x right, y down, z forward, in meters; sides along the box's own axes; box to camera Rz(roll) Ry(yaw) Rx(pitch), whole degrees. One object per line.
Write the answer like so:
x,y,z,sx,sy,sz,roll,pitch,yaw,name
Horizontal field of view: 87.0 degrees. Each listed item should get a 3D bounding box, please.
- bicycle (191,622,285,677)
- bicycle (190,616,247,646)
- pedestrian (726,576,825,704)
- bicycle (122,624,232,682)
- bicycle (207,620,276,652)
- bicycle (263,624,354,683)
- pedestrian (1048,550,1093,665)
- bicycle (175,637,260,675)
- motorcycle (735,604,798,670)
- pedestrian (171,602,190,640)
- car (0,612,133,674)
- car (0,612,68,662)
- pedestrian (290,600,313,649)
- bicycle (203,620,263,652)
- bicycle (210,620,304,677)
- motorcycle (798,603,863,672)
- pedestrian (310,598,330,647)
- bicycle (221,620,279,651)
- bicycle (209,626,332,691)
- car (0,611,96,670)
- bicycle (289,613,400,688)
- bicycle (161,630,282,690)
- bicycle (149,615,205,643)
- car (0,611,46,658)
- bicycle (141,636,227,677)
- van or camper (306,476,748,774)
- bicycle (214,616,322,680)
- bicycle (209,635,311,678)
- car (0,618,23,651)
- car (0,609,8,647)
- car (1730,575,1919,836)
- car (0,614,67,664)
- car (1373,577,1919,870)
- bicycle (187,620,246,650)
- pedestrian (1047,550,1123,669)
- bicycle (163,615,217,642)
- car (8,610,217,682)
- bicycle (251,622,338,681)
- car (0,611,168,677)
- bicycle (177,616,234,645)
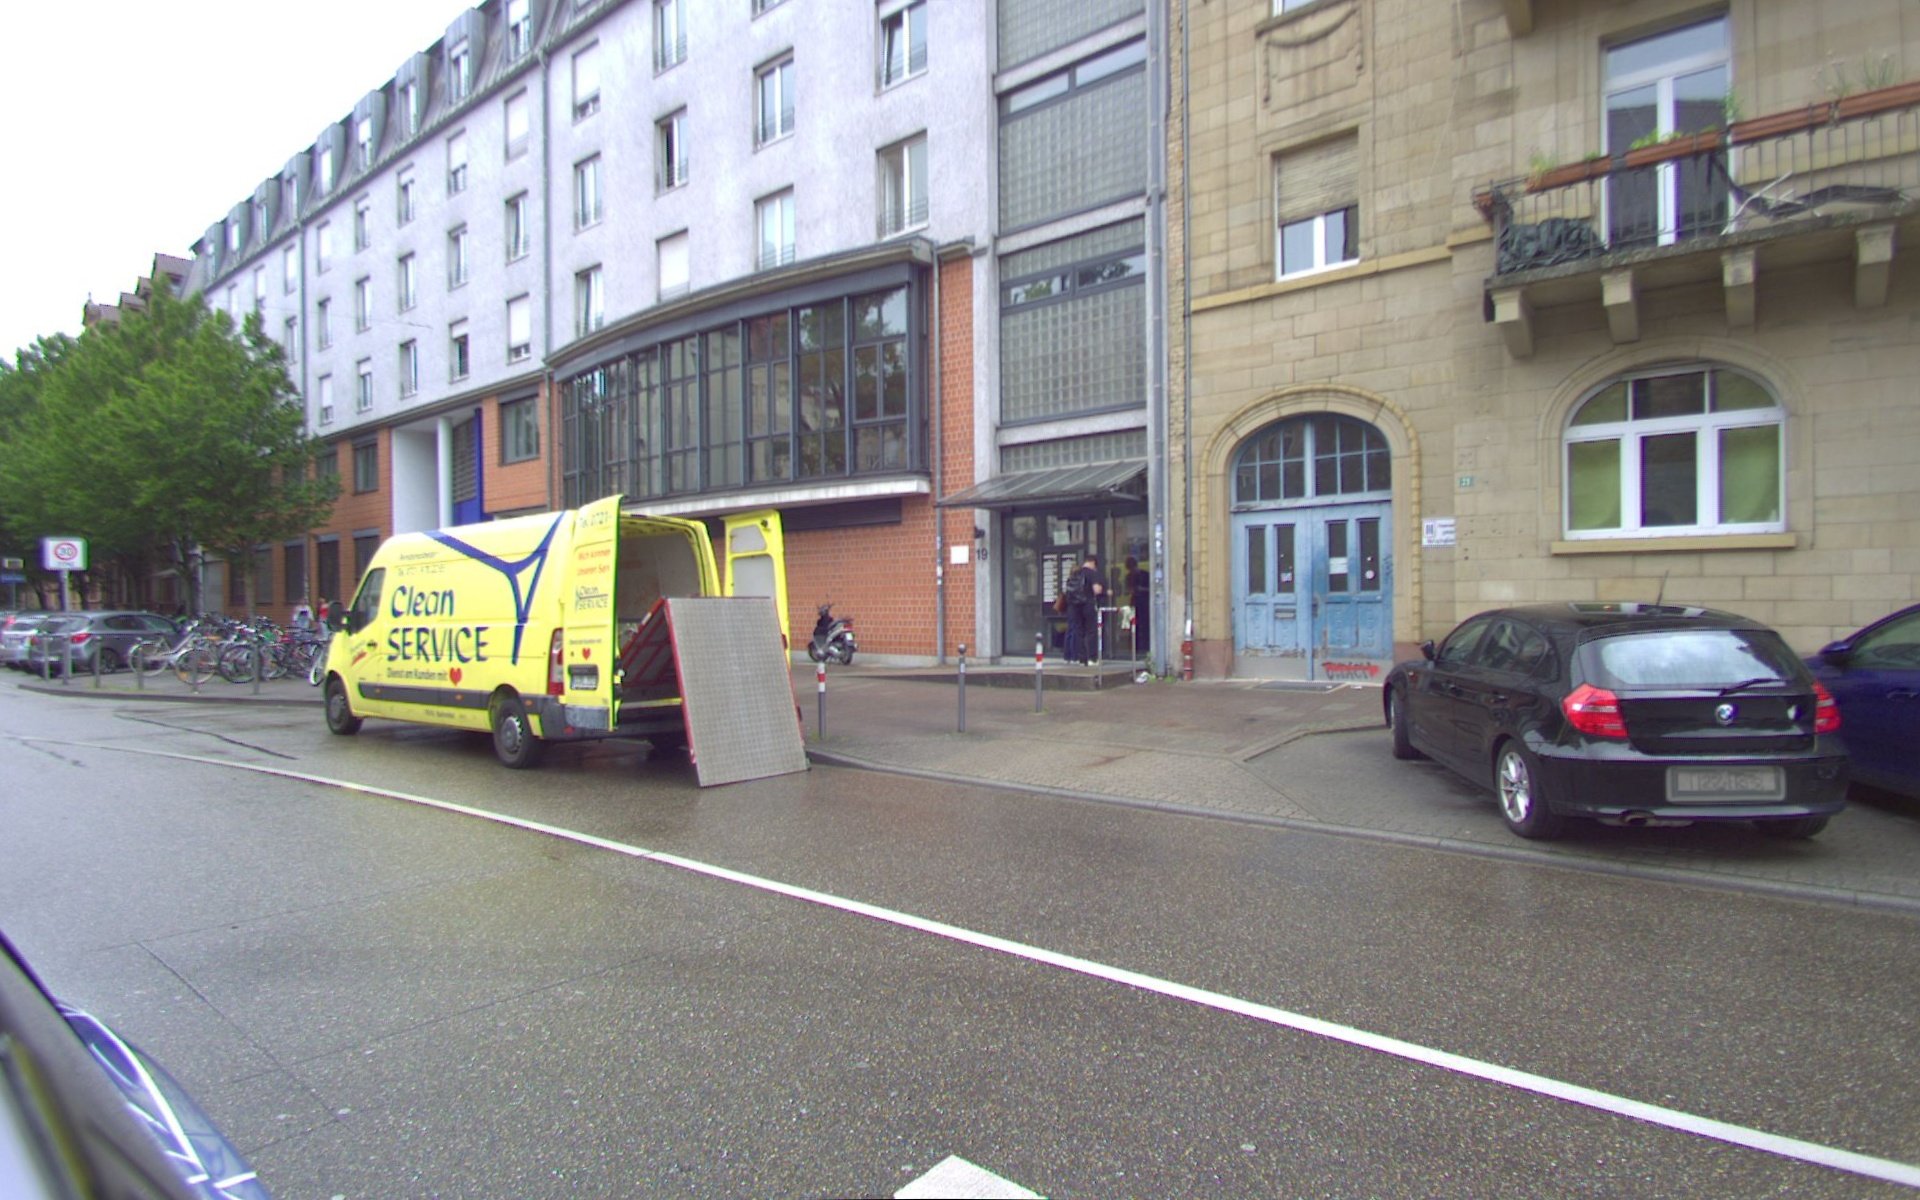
-15.771,1.061,22.137,0.519,1.114,1.591,-1,1,35,bicycle
-25.857,1.070,35.323,0.444,0.992,1.573,-1,-1,32,bicycle
-2.638,0.552,14.464,1.171,1.741,0.777,-1,0,39,pedestrian
-16.778,1.115,21.735,0.472,1.114,1.791,-1,1,35,bicycle
-23.620,1.181,33.305,0.444,0.992,1.831,-1,-1,32,bicycle
-12.906,1.040,20.074,0.418,1.072,1.442,-1,1,44,bicycle
1.735,0.117,15.930,0.467,1.761,0.608,0,-1,-24,pedestrian
-16.581,1.243,22.631,0.497,0.727,1.454,0,1,43,bicycle
-3.753,0.687,19.498,0.516,1.190,2.010,-1,0,-30,motorcycle
-33.359,0.889,43.290,0.533,1.609,0.564,-1,-1,41,pedestrian
-24.482,1.129,27.538,1.432,1.514,3.079,-1,0,0,car
-31.181,1.215,32.964,1.358,1.567,2.971,-1,0,11,car
-22.070,0.804,33.910,0.596,1.622,0.373,0,-1,-44,pedestrian
-24.061,1.181,33.516,0.444,0.992,1.573,-1,-1,32,bicycle
-15.164,1.020,21.861,0.517,1.114,1.596,-1,1,27,bicycle
-2.397,0.658,18.550,0.516,1.190,1.763,-1,0,-30,motorcycle
-21.367,0.761,33.781,0.506,1.622,0.426,0,-1,-38,pedestrian
-24.079,1.189,34.343,0.444,0.992,1.573,-1,-1,32,bicycle
-13.017,1.080,19.153,1.832,1.081,0.610,-2,1,-45,bicycle
-26.900,1.130,29.142,1.432,1.564,3.079,-1,0,0,car
-11.442,0.910,18.892,0.760,1.225,1.917,0,3,5,bicycle
-14.019,1.109,19.257,0.519,1.000,1.778,-1,1,38,bicycle
-28.766,1.073,37.205,0.464,0.992,1.573,-1,-1,32,bicycle
-33.292,1.198,34.736,1.138,1.567,2.672,-1,0,11,car
-17.363,1.250,22.674,0.497,0.811,1.454,0,1,43,bicycle
-5.209,0.273,11.674,5.935,2.631,2.174,-1,-2,39,van or camper
-14.293,0.970,20.960,0.517,1.203,1.798,-1,1,27,bicycle
-14.731,1.176,21.346,0.455,0.767,1.757,-1,1,27,bicycle
-43.734,1.530,44.672,1.662,1.502,3.799,0,-1,-10,car
-48.960,1.361,49.004,1.666,1.910,4.330,0,-1,-1,car
6.717,0.635,6.007,1.780,1.585,4.029,0,-1,11,car
-29.308,1.188,31.297,1.177,1.461,2.502,-1,0,0,car
4.521,0.670,7.371,1.777,1.523,4.035,0,-1,7,car
-25.519,1.181,34.756,0.444,0.992,1.573,-1,-1,32,bicycle
1.910,0.145,15.389,0.785,1.741,0.998,-1,-1,31,pedestrian
-29.074,1.079,38.230,0.464,0.992,1.573,-1,-1,32,bicycle
-20.081,1.037,24.179,1.720,1.514,3.614,0,0,9,car
-13.505,1.033,20.566,1.439,1.111,0.462,-2,1,-36,bicycle
-22.381,1.091,25.987,1.436,1.514,3.070,-1,0,9,car
-26.815,1.071,35.992,0.464,0.992,1.573,-1,-1,32,bicycle
